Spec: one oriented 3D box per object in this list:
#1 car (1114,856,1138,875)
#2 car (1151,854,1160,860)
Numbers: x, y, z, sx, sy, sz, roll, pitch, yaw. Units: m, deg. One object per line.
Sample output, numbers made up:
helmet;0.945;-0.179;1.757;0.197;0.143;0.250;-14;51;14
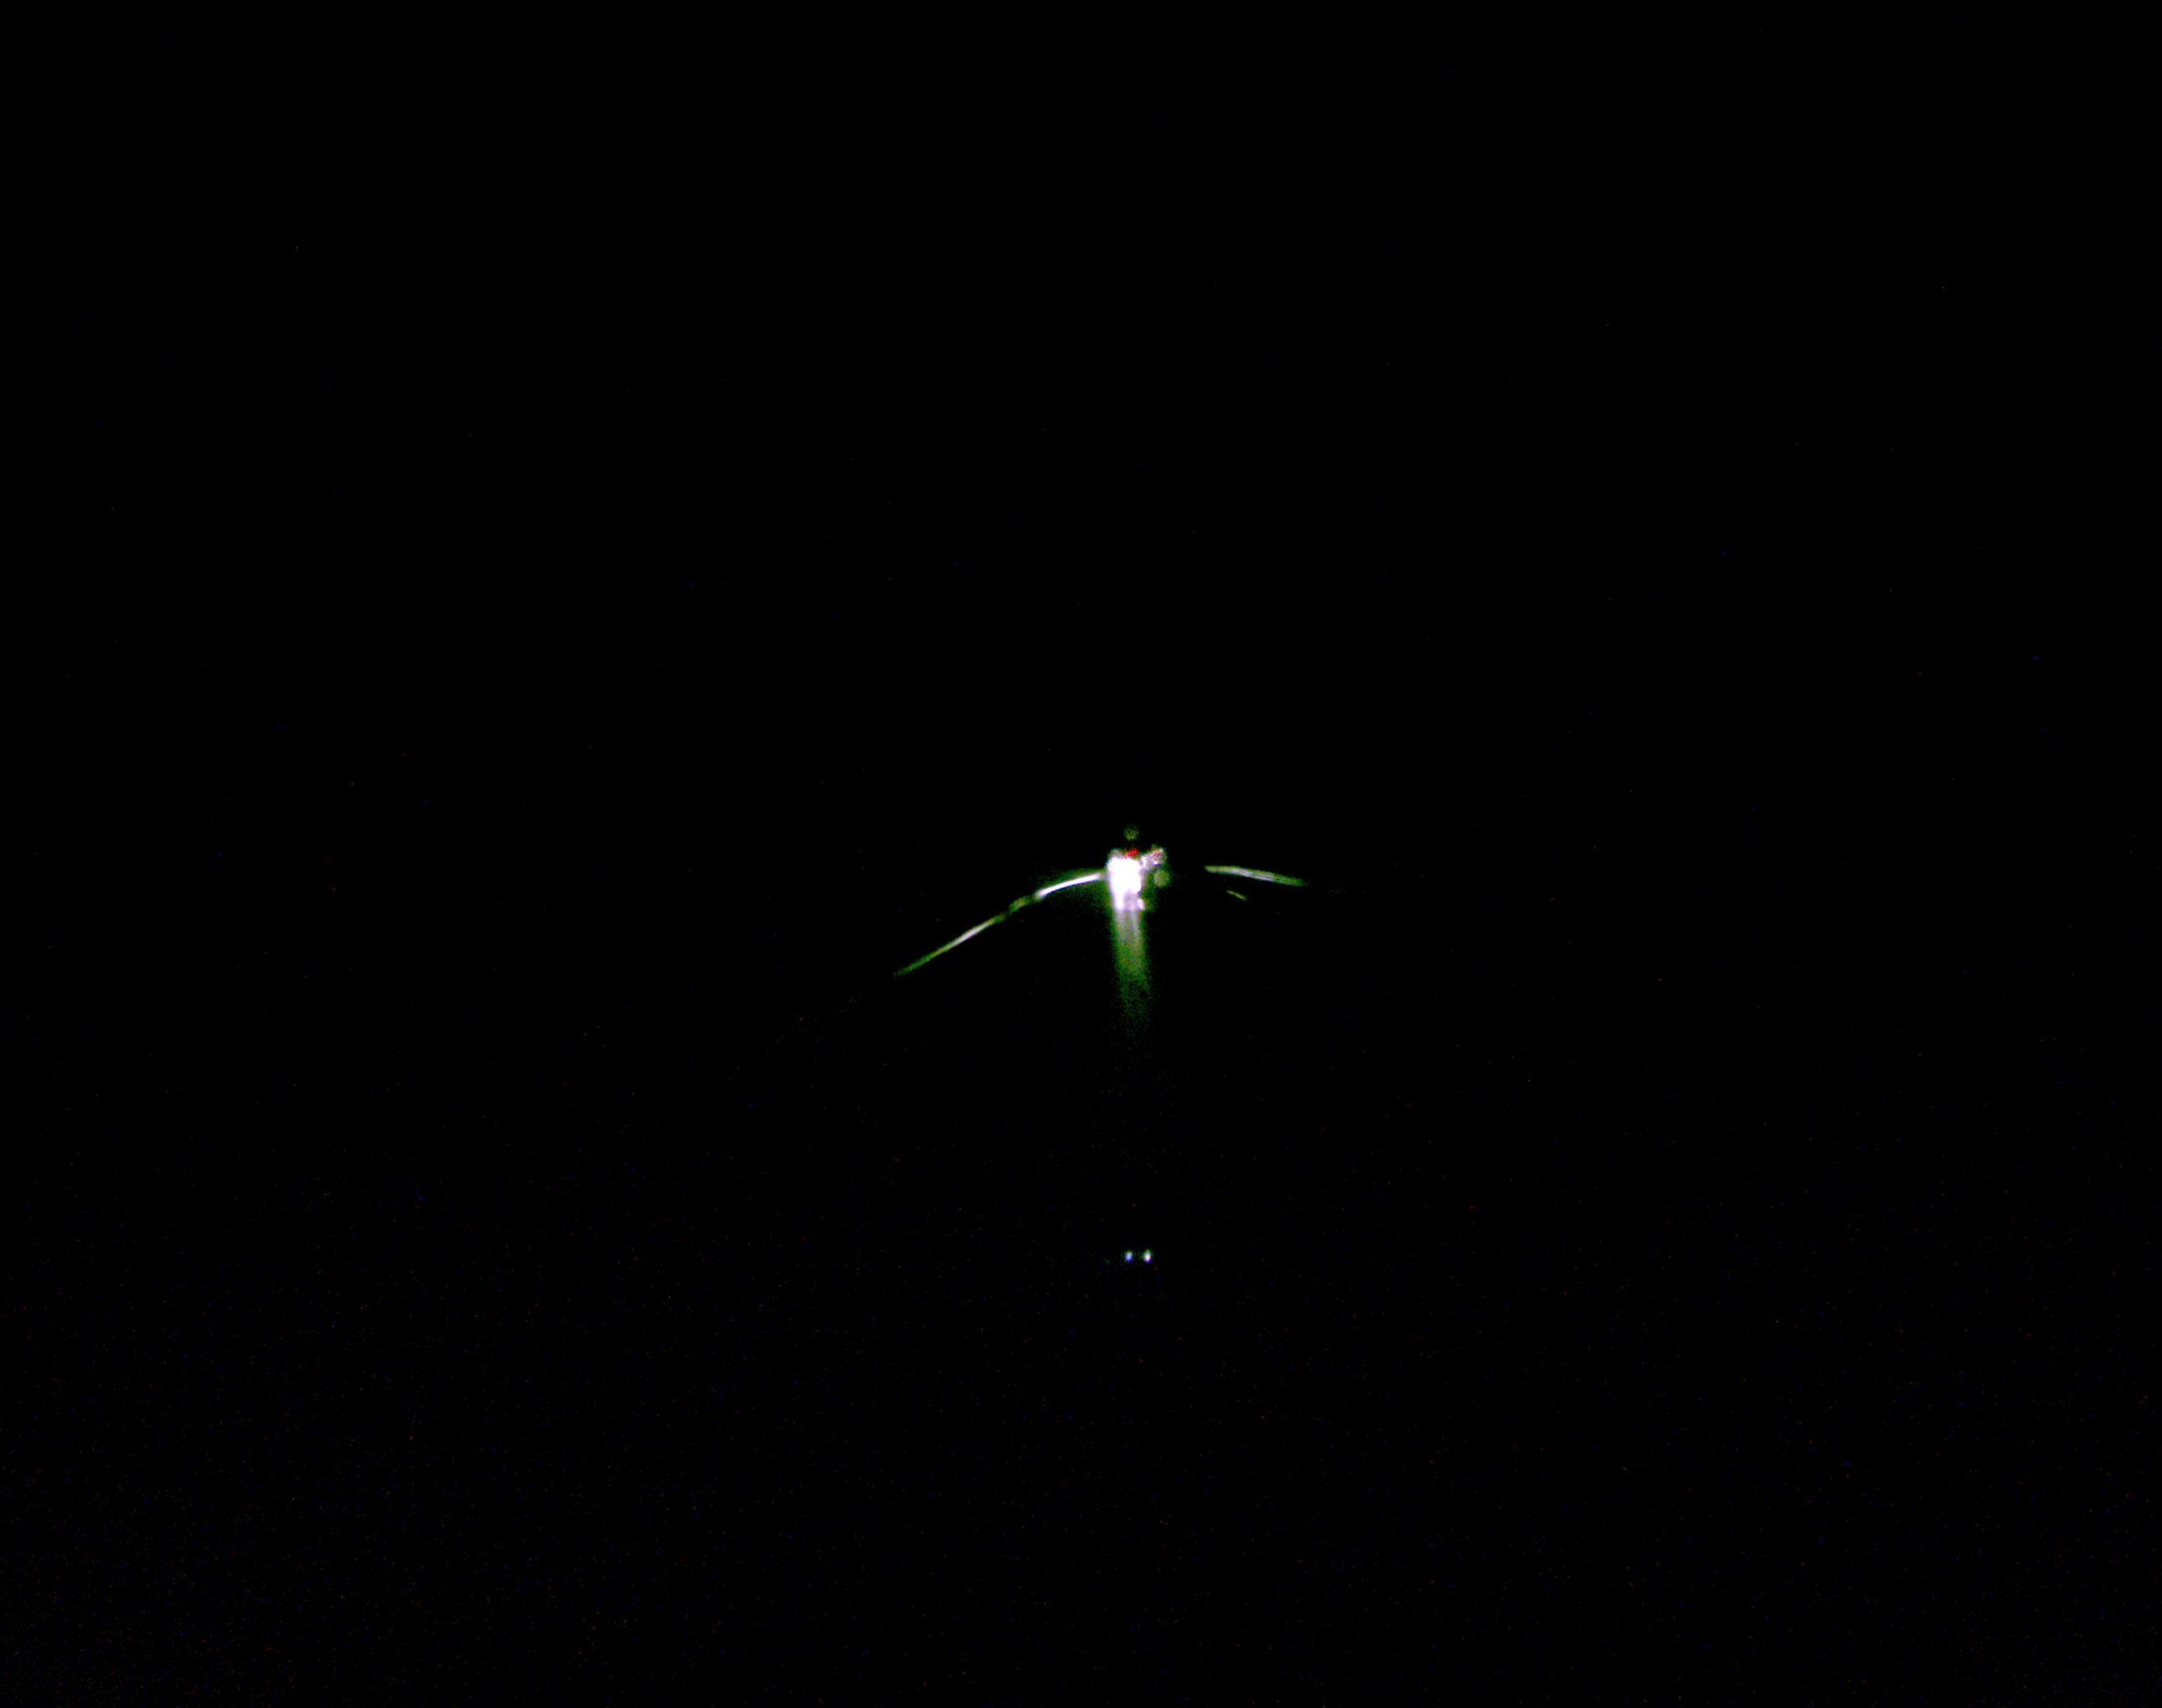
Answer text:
car;3.695;0.926;61.821;1.775;1.444;4.137;-2;0;4
car;17.788;0.642;181.880;1.921;1.455;4.261;-1;0;7
